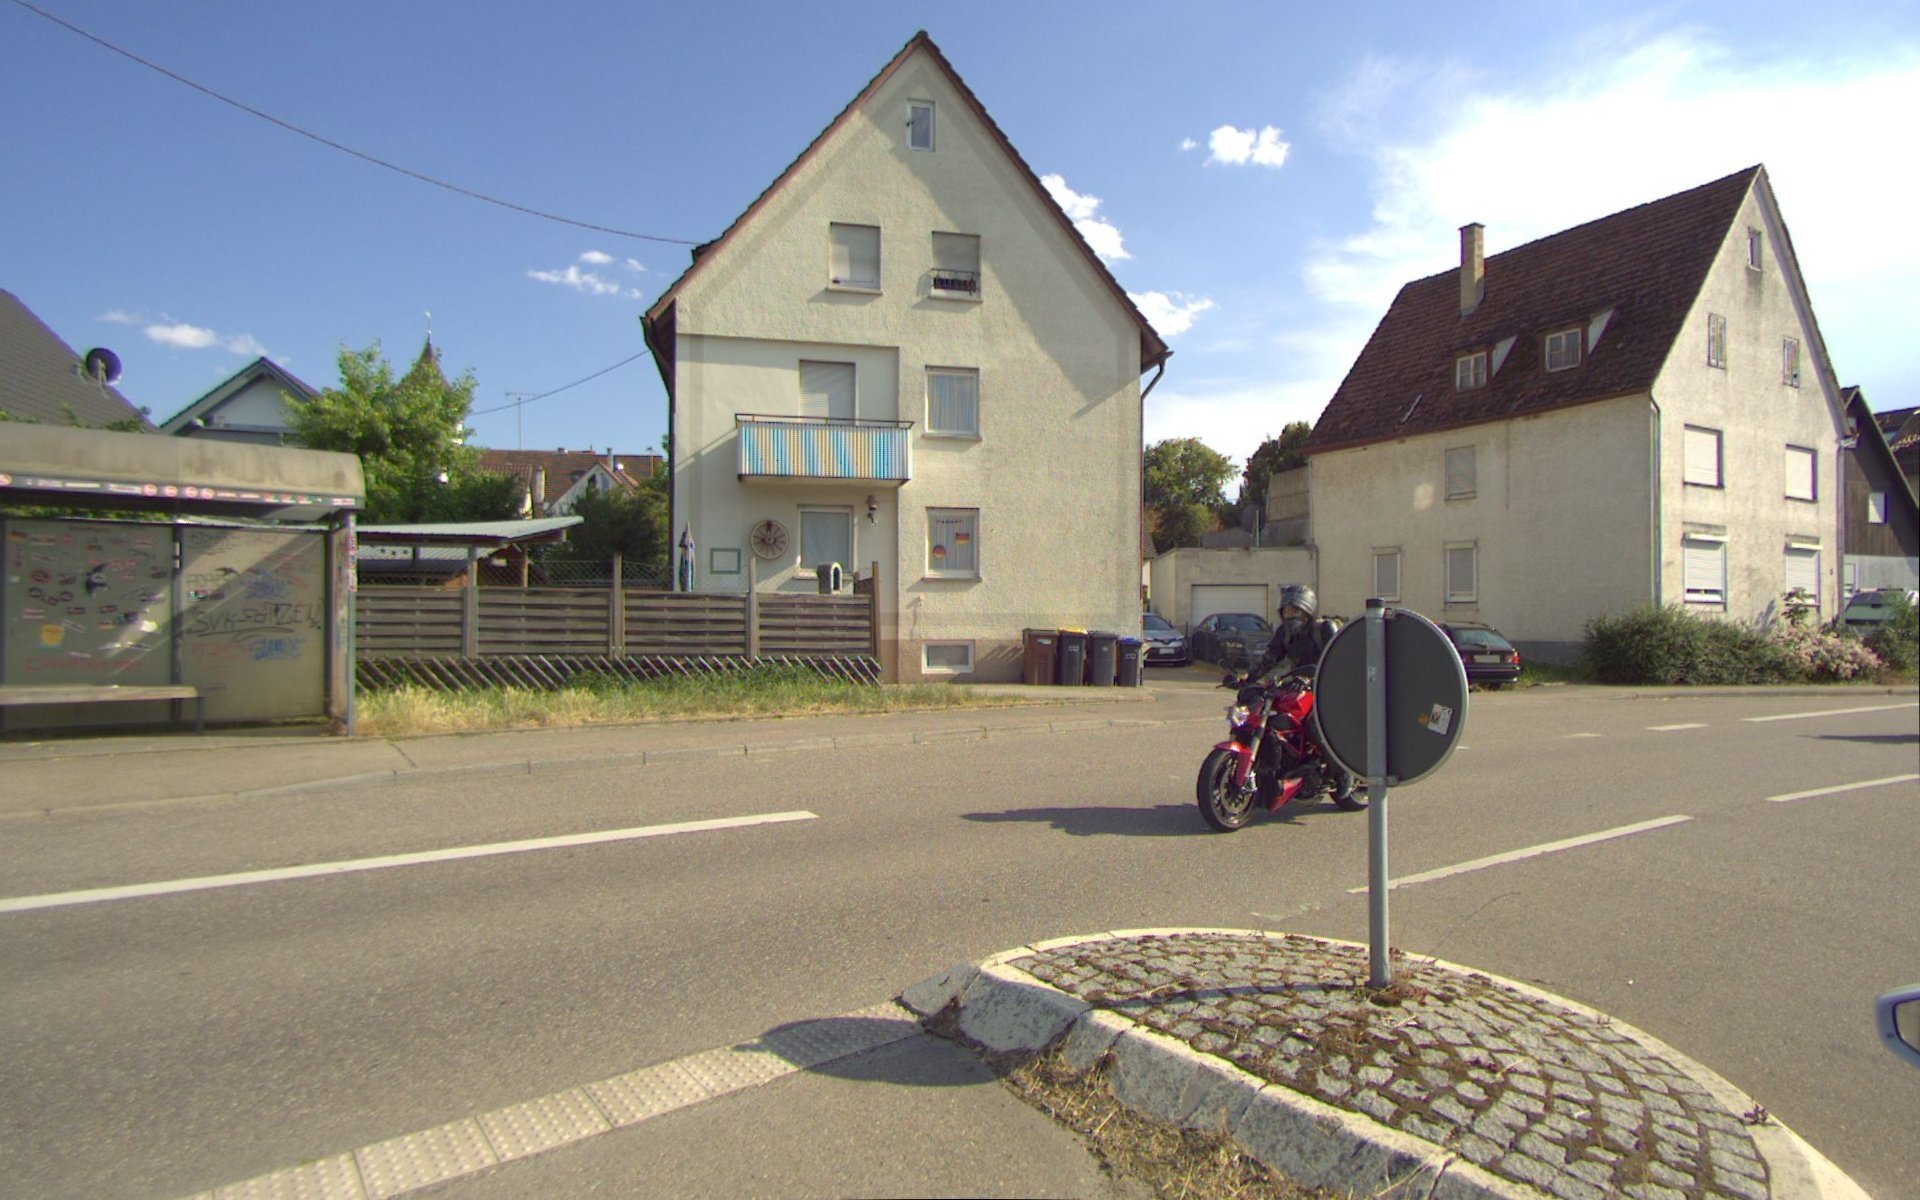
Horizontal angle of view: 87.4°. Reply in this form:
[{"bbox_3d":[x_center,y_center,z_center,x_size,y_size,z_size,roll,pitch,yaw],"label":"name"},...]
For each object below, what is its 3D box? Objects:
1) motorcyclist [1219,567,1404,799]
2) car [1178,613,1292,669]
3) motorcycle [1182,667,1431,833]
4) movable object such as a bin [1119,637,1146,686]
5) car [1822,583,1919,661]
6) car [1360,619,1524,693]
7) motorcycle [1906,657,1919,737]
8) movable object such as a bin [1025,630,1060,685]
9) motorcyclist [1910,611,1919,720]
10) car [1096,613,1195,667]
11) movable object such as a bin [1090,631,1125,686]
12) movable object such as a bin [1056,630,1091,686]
[{"bbox_3d":[2.546,0.562,7.292,1.005,1.547,0.732,2,1,-30],"label":"motorcyclist"},{"bbox_3d":[7.645,1.105,28.334,1.655,1.379,3.994,0,0,-8],"label":"car"},{"bbox_3d":[2.559,1.031,7.324,2.004,1.026,0.535,2,1,-31],"label":"motorcycle"},{"bbox_3d":[3.361,1.198,19.607,0.393,0.937,0.361,2,-1,-14],"label":"movable object such as a bin"},{"bbox_3d":[33.996,0.775,36.310,6.014,2.630,2.151,0,0,-27],"label":"car"},{"bbox_3d":[10.741,1.187,22.701,1.621,1.452,3.998,0,0,-3],"label":"car"},{"bbox_3d":[13.375,1.287,13.327,2.001,1.026,0.522,2,0,-26],"label":"motorcycle"},{"bbox_3d":[1.580,1.104,19.202,0.548,1.029,0.361,2,-1,-14],"label":"movable object such as a bin"},{"bbox_3d":[13.340,0.879,13.294,1.023,1.456,0.800,1,0,-26],"label":"motorcyclist"},{"bbox_3d":[5.368,1.124,29.548,1.655,1.432,3.994,0,0,-8],"label":"car"},{"bbox_3d":[2.860,1.138,19.512,0.567,1.036,0.361,2,-1,-14],"label":"movable object such as a bin"},{"bbox_3d":[2.189,1.111,19.346,0.548,1.055,0.361,2,-1,-14],"label":"movable object such as a bin"}]
